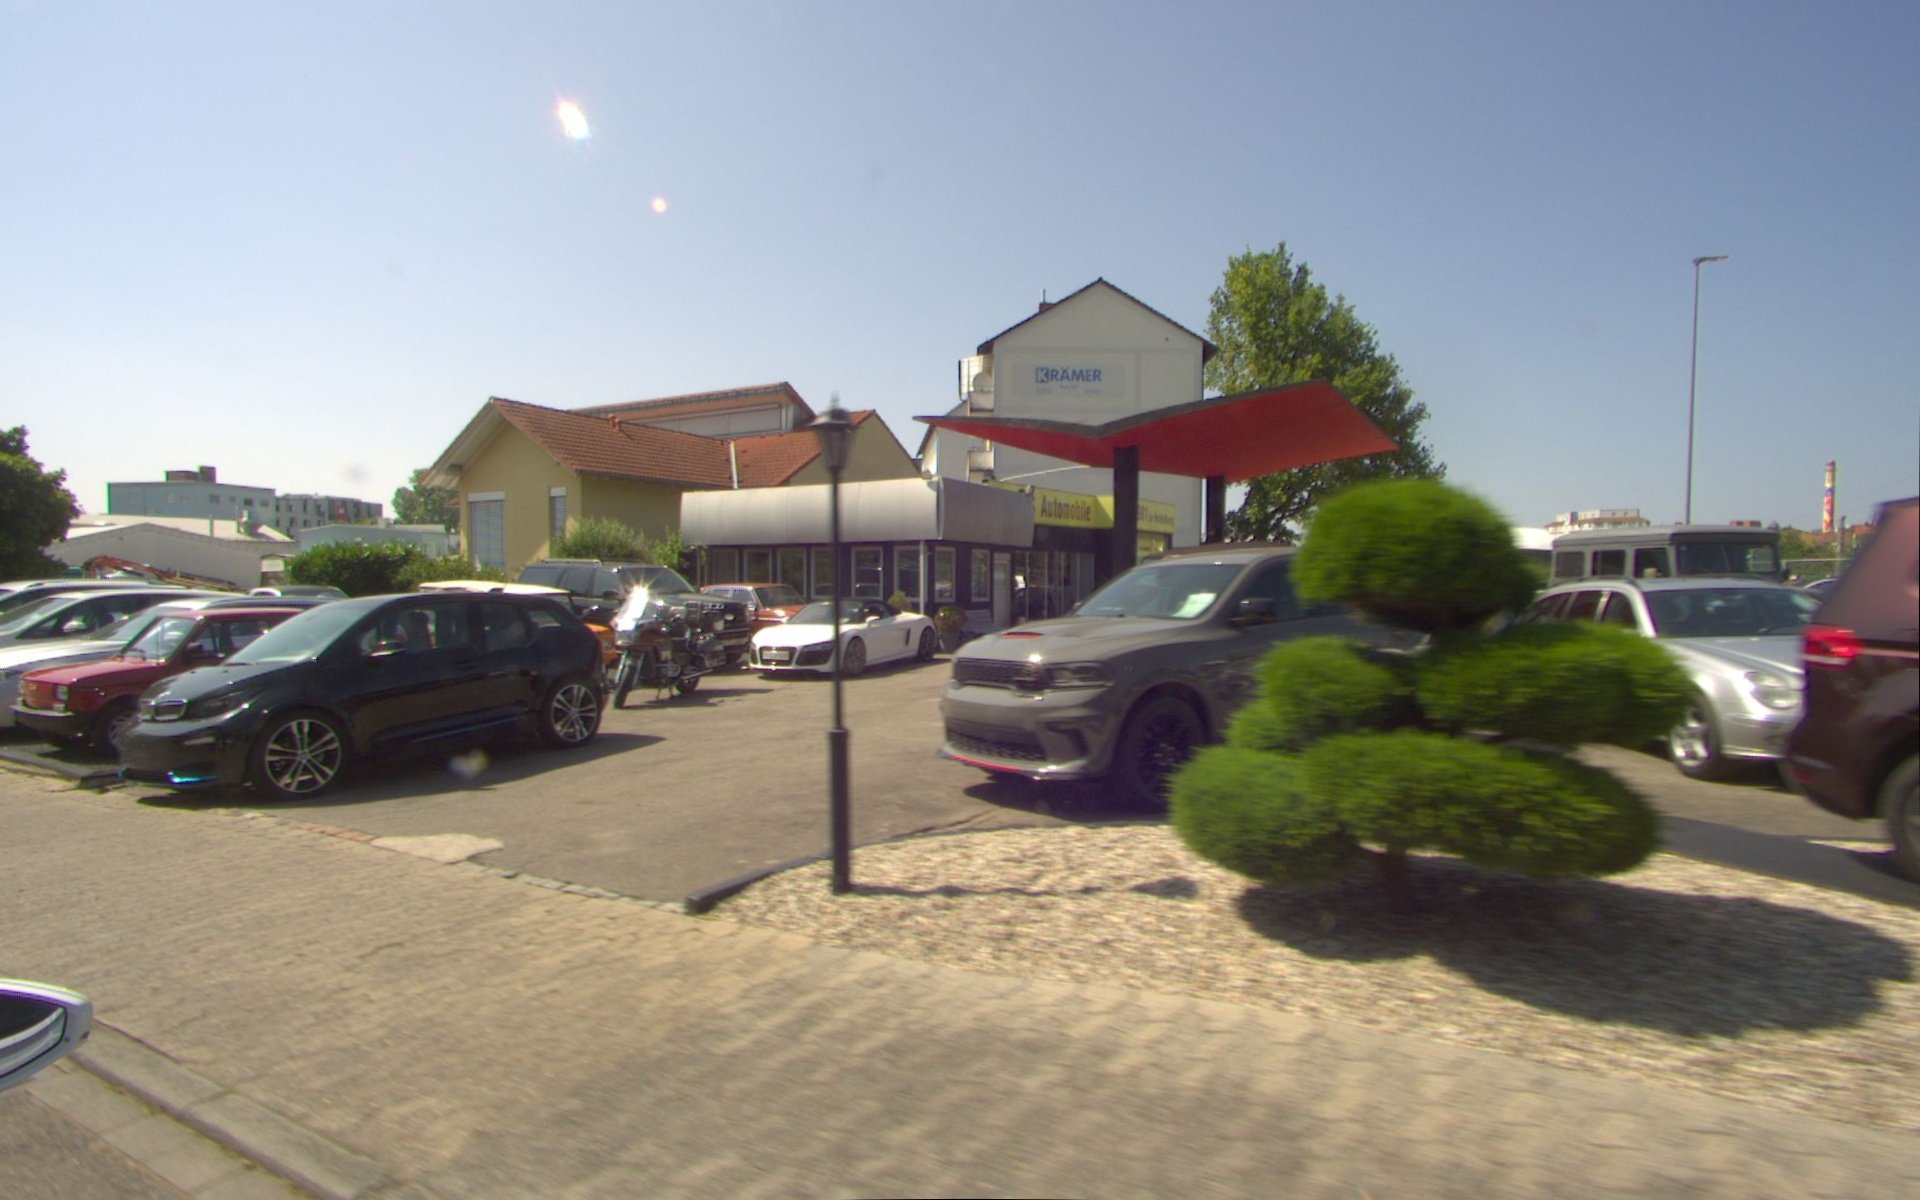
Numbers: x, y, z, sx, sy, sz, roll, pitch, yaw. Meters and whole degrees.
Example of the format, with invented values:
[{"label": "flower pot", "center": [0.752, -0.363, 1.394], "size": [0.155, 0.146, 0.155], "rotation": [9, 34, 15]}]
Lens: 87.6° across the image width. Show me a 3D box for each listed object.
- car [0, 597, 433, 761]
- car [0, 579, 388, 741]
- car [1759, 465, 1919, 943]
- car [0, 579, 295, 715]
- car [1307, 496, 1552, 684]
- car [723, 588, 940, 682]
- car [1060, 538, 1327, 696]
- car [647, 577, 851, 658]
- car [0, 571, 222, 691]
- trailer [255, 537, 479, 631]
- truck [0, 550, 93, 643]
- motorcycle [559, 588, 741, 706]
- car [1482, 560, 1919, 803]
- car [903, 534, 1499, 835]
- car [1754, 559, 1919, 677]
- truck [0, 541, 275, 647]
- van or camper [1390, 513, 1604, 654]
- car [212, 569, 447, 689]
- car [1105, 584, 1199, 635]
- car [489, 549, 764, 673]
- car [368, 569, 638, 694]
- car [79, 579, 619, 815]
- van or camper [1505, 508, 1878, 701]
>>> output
[{"label": "car", "center": [-7.746, 0.686, 10.617], "size": [1.535, 1.353, 3.543], "rotation": [0, 2, 29]}, {"label": "car", "center": [-9.669, 0.579, 12.175], "size": [1.866, 1.518, 4.399], "rotation": [-1, 3, 25]}, {"label": "car", "center": [5.081, 0.385, 2.667], "size": [1.823, 1.806, 4.275], "rotation": [-2, 1, -23]}, {"label": "car", "center": [-11.898, 0.564, 13.587], "size": [1.866, 1.549, 4.399], "rotation": [-1, 3, 25]}, {"label": "car", "center": [7.857, -0.141, 17.577], "size": [2.216, 2.714, 6.016], "rotation": [0, 0, 8]}, {"label": "car", "center": [-2.124, 0.519, 17.760], "size": [1.917, 1.336, 4.114], "rotation": [1, 2, 25]}, {"label": "car", "center": [3.838, 0.149, 16.038], "size": [4.527, 2.180, 1.907], "rotation": [-3, 3, -42]}, {"label": "car", "center": [-4.568, 0.325, 21.729], "size": [3.935, 1.618, 1.992], "rotation": [0, 2, 26]}, {"label": "car", "center": [-13.923, 0.422, 14.877], "size": [1.815, 1.676, 4.397], "rotation": [0, 1, 28]}, {"label": "trailer", "center": [-26.946, -0.707, 45.989], "size": [3.027, 3.915, 8.305], "rotation": [1, 1, 36]}, {"label": "truck", "center": [-37.683, -0.184, 37.425], "size": [2.489, 3.466, 7.510], "rotation": [1, -2, 31]}, {"label": "motorcycle", "center": [-4.229, 0.579, 13.988], "size": [0.993, 1.453, 2.684], "rotation": [0, 1, 20]}, {"label": "car", "center": [6.307, 0.502, 8.473], "size": [1.888, 1.555, 4.206], "rotation": [-1, 1, 5]}, {"label": "car", "center": [2.134, 0.464, 8.123], "size": [4.932, 1.786, 1.912], "rotation": [-1, 1, -35]}, {"label": "car", "center": [13.413, 0.230, 13.684], "size": [1.619, 1.571, 3.750], "rotation": [-1, 1, -18]}, {"label": "truck", "center": [-31.909, -0.232, 38.901], "size": [2.912, 3.660, 8.254], "rotation": [1, 1, 33]}, {"label": "van or camper", "center": [10.485, -0.317, 20.071], "size": [1.961, 2.469, 4.933], "rotation": [0, 1, 5]}, {"label": "car", "center": [-11.045, 0.477, 17.522], "size": [3.732, 1.884, 1.991], "rotation": [-1, 0, 30]}, {"label": "car", "center": [5.784, 0.232, 29.966], "size": [1.730, 1.399, 3.473], "rotation": [2, 2, 29]}, {"label": "car", "center": [-6.195, 0.164, 18.530], "size": [4.829, 2.041, 1.992], "rotation": [0, 2, 27]}, {"label": "car", "center": [-7.255, 0.430, 15.863], "size": [3.940, 1.751, 1.990], "rotation": [0, 1, 30]}, {"label": "car", "center": [-5.204, 0.643, 9.080], "size": [1.733, 1.646, 3.797], "rotation": [0, 1, 29]}, {"label": "van or camper", "center": [10.249, 0.050, 14.763], "size": [2.071, 2.291, 5.504], "rotation": [0, 0, 8]}]
